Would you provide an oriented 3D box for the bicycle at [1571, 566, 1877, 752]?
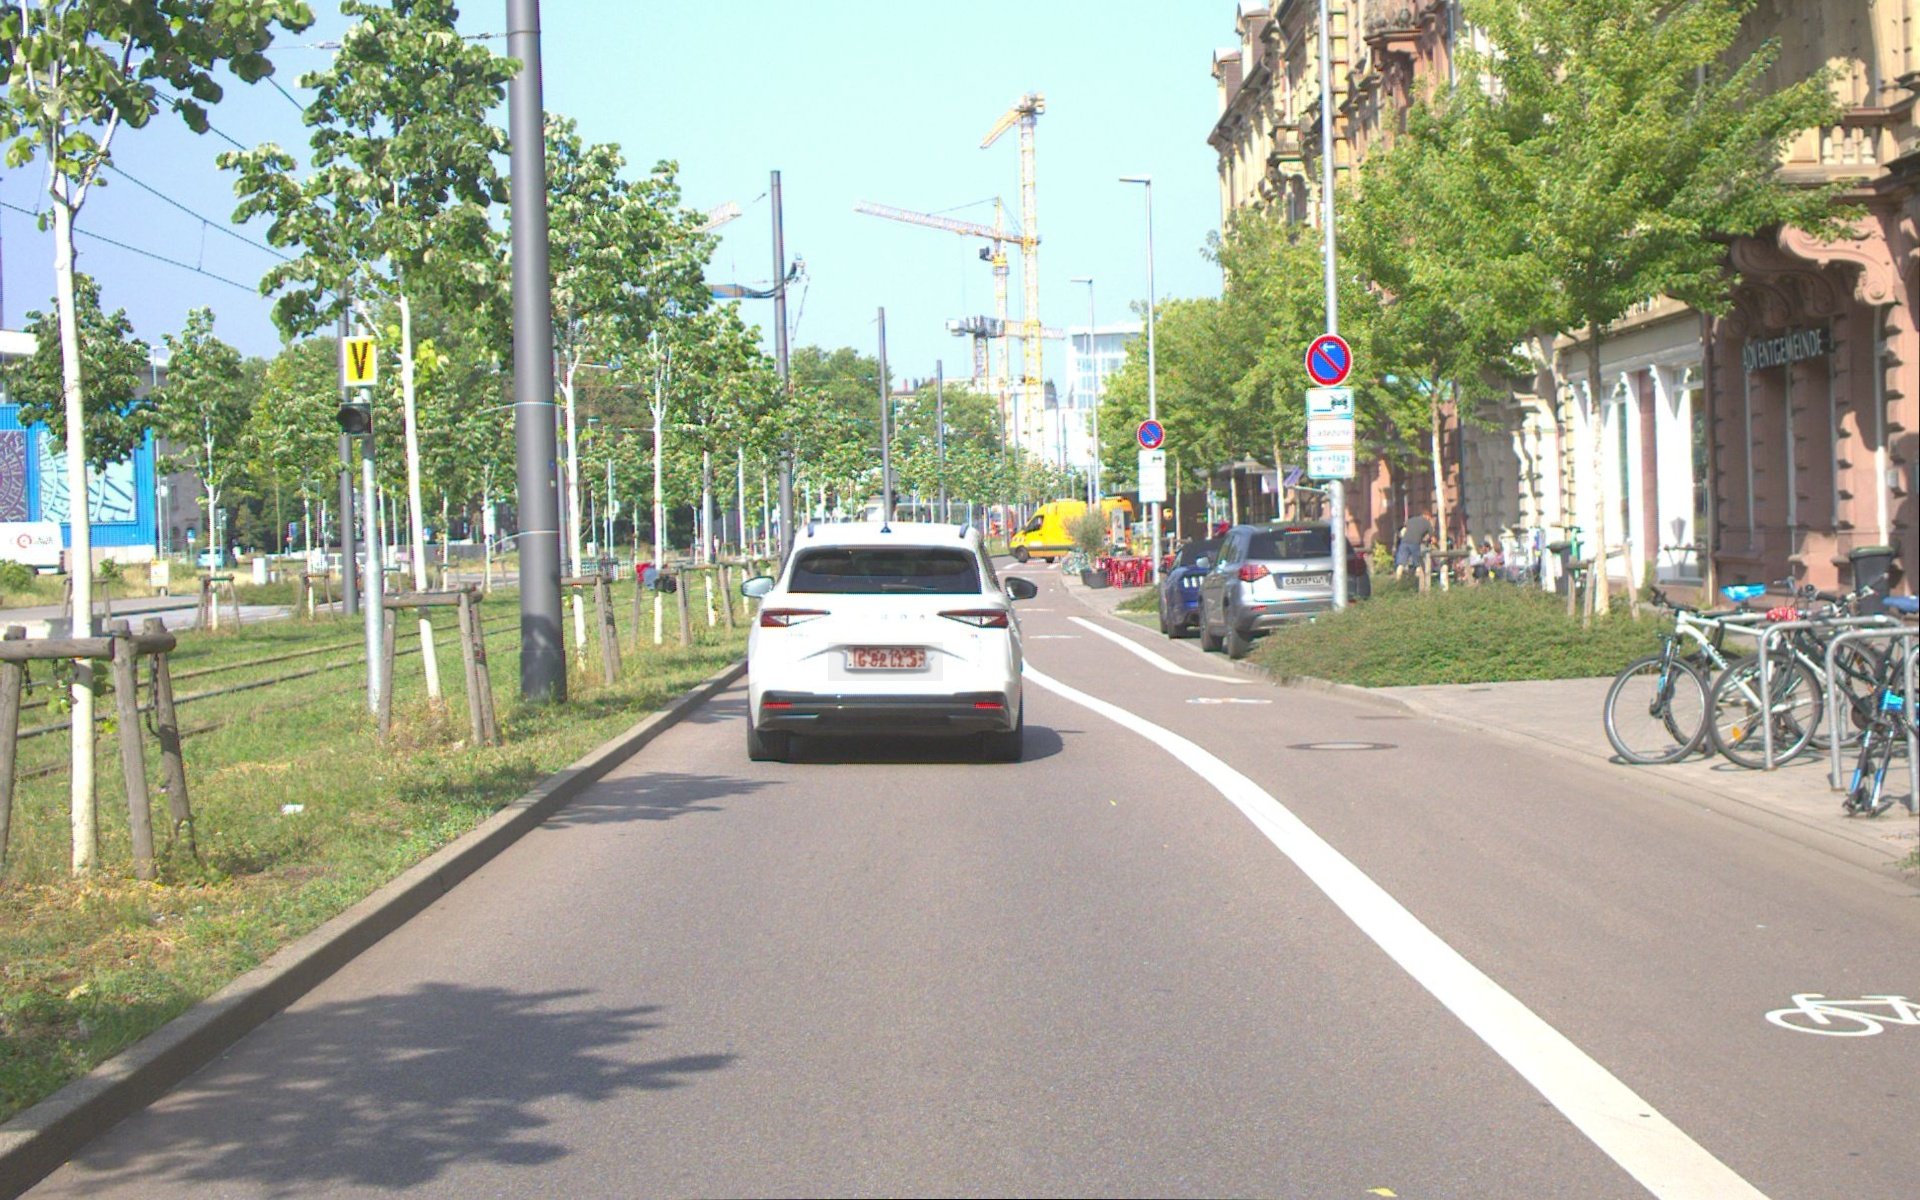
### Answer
[{"bbox_3d":[4.780,0.365,21.539,1.784,1.050,0.373,-3,1,-1],"label":"bicycle"}]

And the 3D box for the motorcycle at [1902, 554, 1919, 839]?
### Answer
[{"bbox_3d":[5.330,0.375,15.874,2.035,1.282,0.705,-5,3,-35],"label":"motorcycle"}]

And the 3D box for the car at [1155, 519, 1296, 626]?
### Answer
[{"bbox_3d":[3.861,-0.439,50.569,1.736,1.391,4.715,-3,2,1],"label":"car"}]

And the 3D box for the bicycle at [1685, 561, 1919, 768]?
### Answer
[{"bbox_3d":[5.224,0.353,19.991,1.806,1.092,0.672,-3,1,-5],"label":"bicycle"}]

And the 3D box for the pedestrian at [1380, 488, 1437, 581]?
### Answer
[{"bbox_3d":[8.453,-1.243,64.822,0.823,1.690,0.793,-4,1,-4],"label":"pedestrian"}]

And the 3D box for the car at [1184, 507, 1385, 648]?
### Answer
[{"bbox_3d":[3.976,-0.315,42.785,1.769,1.583,4.249,-3,2,-4],"label":"car"}]

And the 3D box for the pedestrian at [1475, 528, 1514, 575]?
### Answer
[{"bbox_3d":[9.965,-0.904,64.046,0.570,0.852,0.457,-4,1,-6],"label":"pedestrian"}]

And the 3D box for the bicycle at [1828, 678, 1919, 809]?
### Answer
[{"bbox_3d":[4.882,0.701,17.202,0.958,0.607,0.360,-3,1,1],"label":"bicycle"}]

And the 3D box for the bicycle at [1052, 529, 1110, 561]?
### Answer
[{"bbox_3d":[4.228,-1.928,120.076,1.935,1.009,0.440,-3,1,5],"label":"bicycle"}]

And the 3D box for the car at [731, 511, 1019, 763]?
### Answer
[{"bbox_3d":[-0.549,0.185,24.105,1.817,1.584,4.407,-1,1,0],"label":"car"}]

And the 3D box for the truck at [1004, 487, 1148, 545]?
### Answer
[{"bbox_3d":[4.907,-3.560,145.765,5.883,2.310,2.215,0,2,37],"label":"truck"}]

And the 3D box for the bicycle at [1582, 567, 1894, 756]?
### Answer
[{"bbox_3d":[4.779,0.372,21.140,1.784,1.050,0.373,-3,1,-1],"label":"bicycle"}]

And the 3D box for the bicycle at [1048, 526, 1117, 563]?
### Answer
[{"bbox_3d":[4.098,-1.853,115.039,2.239,1.100,0.588,-3,1,2],"label":"bicycle"}]

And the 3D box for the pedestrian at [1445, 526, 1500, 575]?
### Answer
[{"bbox_3d":[9.800,-0.956,65.742,0.877,0.873,0.711,-4,1,-3],"label":"pedestrian"}]

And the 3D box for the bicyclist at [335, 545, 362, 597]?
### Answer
[{"bbox_3d":[-20.514,-0.980,115.389,0.647,1.730,0.919,-3,1,0],"label":"bicyclist"}]

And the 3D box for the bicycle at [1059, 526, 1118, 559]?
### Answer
[{"bbox_3d":[4.331,-1.943,116.245,1.934,0.983,0.471,-3,1,2],"label":"bicycle"}]

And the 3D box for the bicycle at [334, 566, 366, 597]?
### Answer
[{"bbox_3d":[-20.479,-0.625,115.376,0.662,0.958,2.078,-3,1,0],"label":"bicycle"}]

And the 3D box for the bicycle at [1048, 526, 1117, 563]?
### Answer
[{"bbox_3d":[4.123,-1.861,115.594,2.239,1.100,0.519,-3,1,2],"label":"bicycle"}]

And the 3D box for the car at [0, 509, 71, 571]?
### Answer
[{"bbox_3d":[-42.597,-2.660,150.498,6.873,2.629,2.515,1,1,-21],"label":"car"}]

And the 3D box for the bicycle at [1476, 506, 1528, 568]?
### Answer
[{"bbox_3d":[9.588,-1.116,60.851,0.450,1.079,1.449,-2,1,-9],"label":"bicycle"}]

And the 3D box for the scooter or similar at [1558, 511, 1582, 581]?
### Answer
[{"bbox_3d":[9.973,-0.883,56.208,0.289,1.130,1.088,-1,1,6],"label":"scooter or similar"}]
